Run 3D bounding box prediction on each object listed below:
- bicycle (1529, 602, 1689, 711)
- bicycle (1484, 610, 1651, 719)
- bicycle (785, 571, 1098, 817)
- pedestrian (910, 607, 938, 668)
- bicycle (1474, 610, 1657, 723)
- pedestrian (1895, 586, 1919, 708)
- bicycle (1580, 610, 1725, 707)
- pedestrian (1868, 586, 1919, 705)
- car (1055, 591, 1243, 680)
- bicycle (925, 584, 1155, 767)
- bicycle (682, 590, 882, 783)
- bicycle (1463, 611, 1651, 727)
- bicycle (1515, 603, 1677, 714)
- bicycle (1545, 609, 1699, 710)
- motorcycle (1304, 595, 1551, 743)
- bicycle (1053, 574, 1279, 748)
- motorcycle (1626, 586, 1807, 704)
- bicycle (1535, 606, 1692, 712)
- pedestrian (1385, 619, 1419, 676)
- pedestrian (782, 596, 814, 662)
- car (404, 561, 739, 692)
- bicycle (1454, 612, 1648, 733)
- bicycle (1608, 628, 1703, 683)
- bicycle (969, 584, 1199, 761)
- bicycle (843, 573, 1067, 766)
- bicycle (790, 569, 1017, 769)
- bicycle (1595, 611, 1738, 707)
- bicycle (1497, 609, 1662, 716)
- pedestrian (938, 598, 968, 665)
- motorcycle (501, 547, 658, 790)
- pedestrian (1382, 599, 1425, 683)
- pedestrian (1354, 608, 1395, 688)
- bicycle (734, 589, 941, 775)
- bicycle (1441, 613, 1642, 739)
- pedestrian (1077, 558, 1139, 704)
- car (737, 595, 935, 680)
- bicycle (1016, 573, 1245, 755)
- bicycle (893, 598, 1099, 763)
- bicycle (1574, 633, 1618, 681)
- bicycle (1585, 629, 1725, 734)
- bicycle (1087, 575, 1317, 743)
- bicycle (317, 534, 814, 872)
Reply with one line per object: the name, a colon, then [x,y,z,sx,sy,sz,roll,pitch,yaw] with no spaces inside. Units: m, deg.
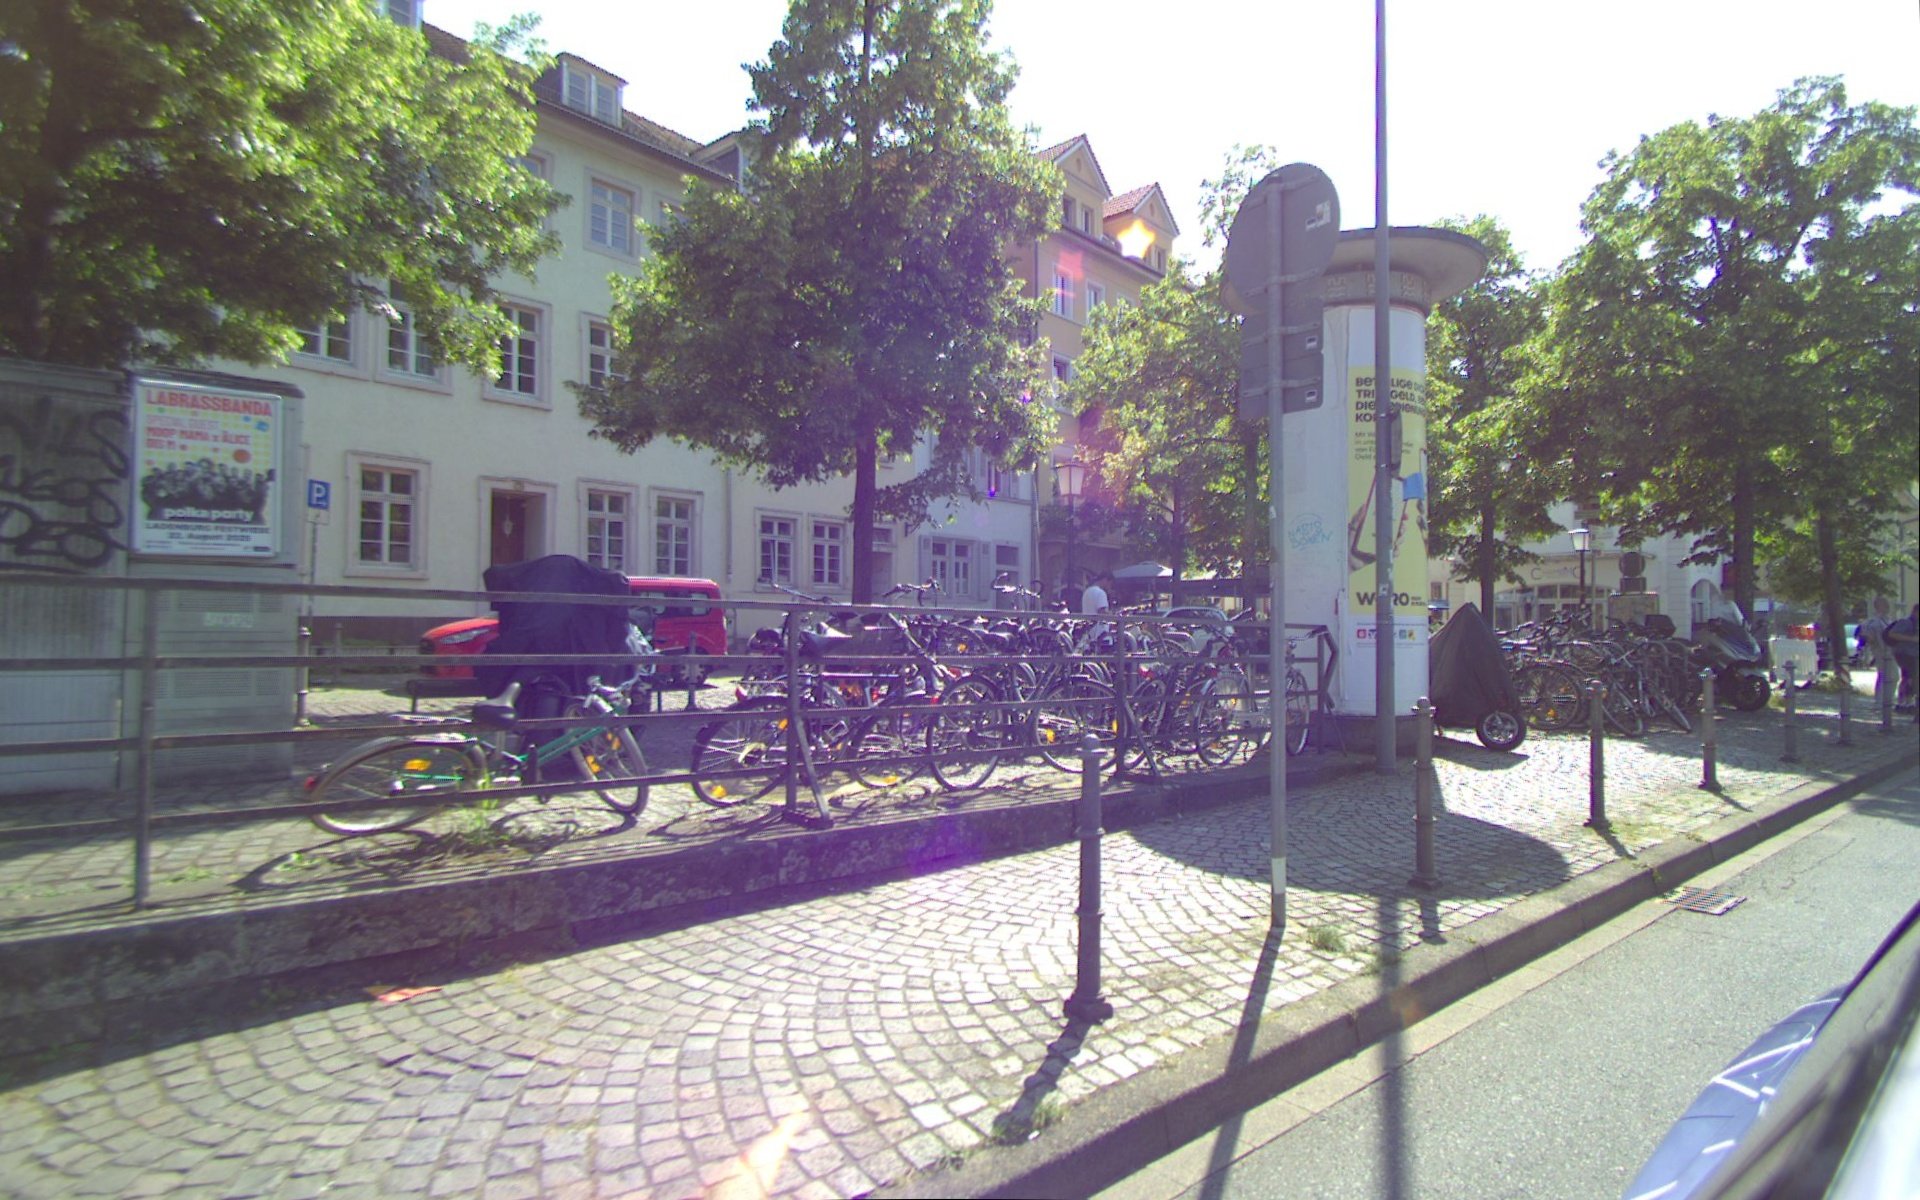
bicycle: [8.186,0.675,12.819,0.407,1.232,1.628,1,1,-44]
bicycle: [7.191,0.729,12.039,0.407,1.147,1.628,1,1,-44]
bicycle: [-0.030,0.485,6.171,2.126,1.277,0.476,0,1,-43]
pedestrian: [-0.899,0.933,25.347,0.424,1.495,0.606,0,-1,42]
bicycle: [7.013,0.727,11.790,0.456,1.147,1.750,1,1,-44]
pedestrian: [14.379,0.694,15.082,0.571,1.800,0.542,1,0,-36]
bicycle: [9.291,0.752,13.656,0.416,1.184,1.636,1,0,-22]
pedestrian: [14.542,0.692,15.748,0.572,1.800,0.541,1,0,-42]
car: [4.339,0.846,22.888,4.382,1.815,1.837,3,-5,-41]
bicycle: [0.574,0.529,8.230,0.468,1.277,2.160,0,1,-40]
bicycle: [-1.283,0.516,6.961,0.415,1.114,1.953,0,1,-40]
bicycle: [6.724,0.738,11.469,0.456,1.147,1.750,1,1,-44]
bicycle: [7.861,0.682,12.564,0.407,1.232,1.628,1,1,-44]
bicycle: [8.692,0.752,13.344,0.344,1.184,1.628,1,1,-44]
motorcycle: [4.550,0.596,10.143,0.709,1.291,2.543,0,0,-18]
bicycle: [1.787,0.473,9.143,0.468,1.385,2.160,0,1,-40]
motorcycle: [10.644,0.589,14.369,0.782,1.547,2.204,0,0,-5]
bicycle: [8.458,0.728,13.156,0.407,1.232,1.628,1,1,-44]
pedestrian: [8.624,0.919,19.735,0.518,1.088,0.424,1,-1,-41]
pedestrian: [-3.690,0.647,23.051,0.557,1.495,0.508,0,-1,-40]
car: [-6.123,0.442,16.318,4.652,1.823,1.835,3,-2,-41]
bicycle: [6.441,0.750,11.102,0.456,1.147,1.750,1,1,-44]
bicycle: [15.869,1.242,23.139,0.322,1.145,1.888,2,-1,-25]
bicycle: [0.968,0.528,8.535,0.468,1.277,2.160,0,1,-40]
bicycle: [-0.114,0.447,7.786,0.414,1.277,2.160,0,1,-40]
bicycle: [-0.497,0.423,7.534,0.468,1.277,2.160,0,1,-40]
bicycle: [9.569,0.768,13.774,0.359,1.184,1.636,1,0,-22]
bicycle: [7.507,0.725,12.324,0.407,1.147,1.628,1,1,-44]
pedestrian: [-0.182,0.769,24.931,0.616,1.633,0.425,0,-1,-40]
motorcycle: [-2.415,0.356,6.657,0.635,1.329,2.167,1,1,-12]
pedestrian: [8.208,0.747,18.724,0.655,1.527,0.493,1,-1,-41]
pedestrian: [7.822,0.892,19.105,0.569,1.478,0.493,1,-1,-36]
bicycle: [-0.943,0.510,7.272,0.468,1.126,1.966,0,1,-40]
bicycle: [6.120,0.755,10.726,1.748,1.147,0.532,3,1,43]
pedestrian: [1.836,0.380,12.558,0.492,1.767,0.541,0,-2,-39]
car: [-2.345,0.720,19.564,3.497,1.497,1.587,3,-2,-41]
bicycle: [1.407,0.474,8.822,0.468,1.385,2.160,0,1,-40]
bicycle: [0.215,0.566,7.998,0.332,1.106,2.027,1,1,-40]
bicycle: [14.384,1.272,22.924,0.324,0.991,1.620,1,-1,13]
bicycle: [7.442,0.833,10.815,1.719,1.021,0.541,0,-1,-30]
bicycle: [2.194,0.473,9.489,0.574,1.385,2.160,0,1,-40]
bicycle: [-1.703,0.380,4.715,2.126,1.277,0.476,0,1,-43]
